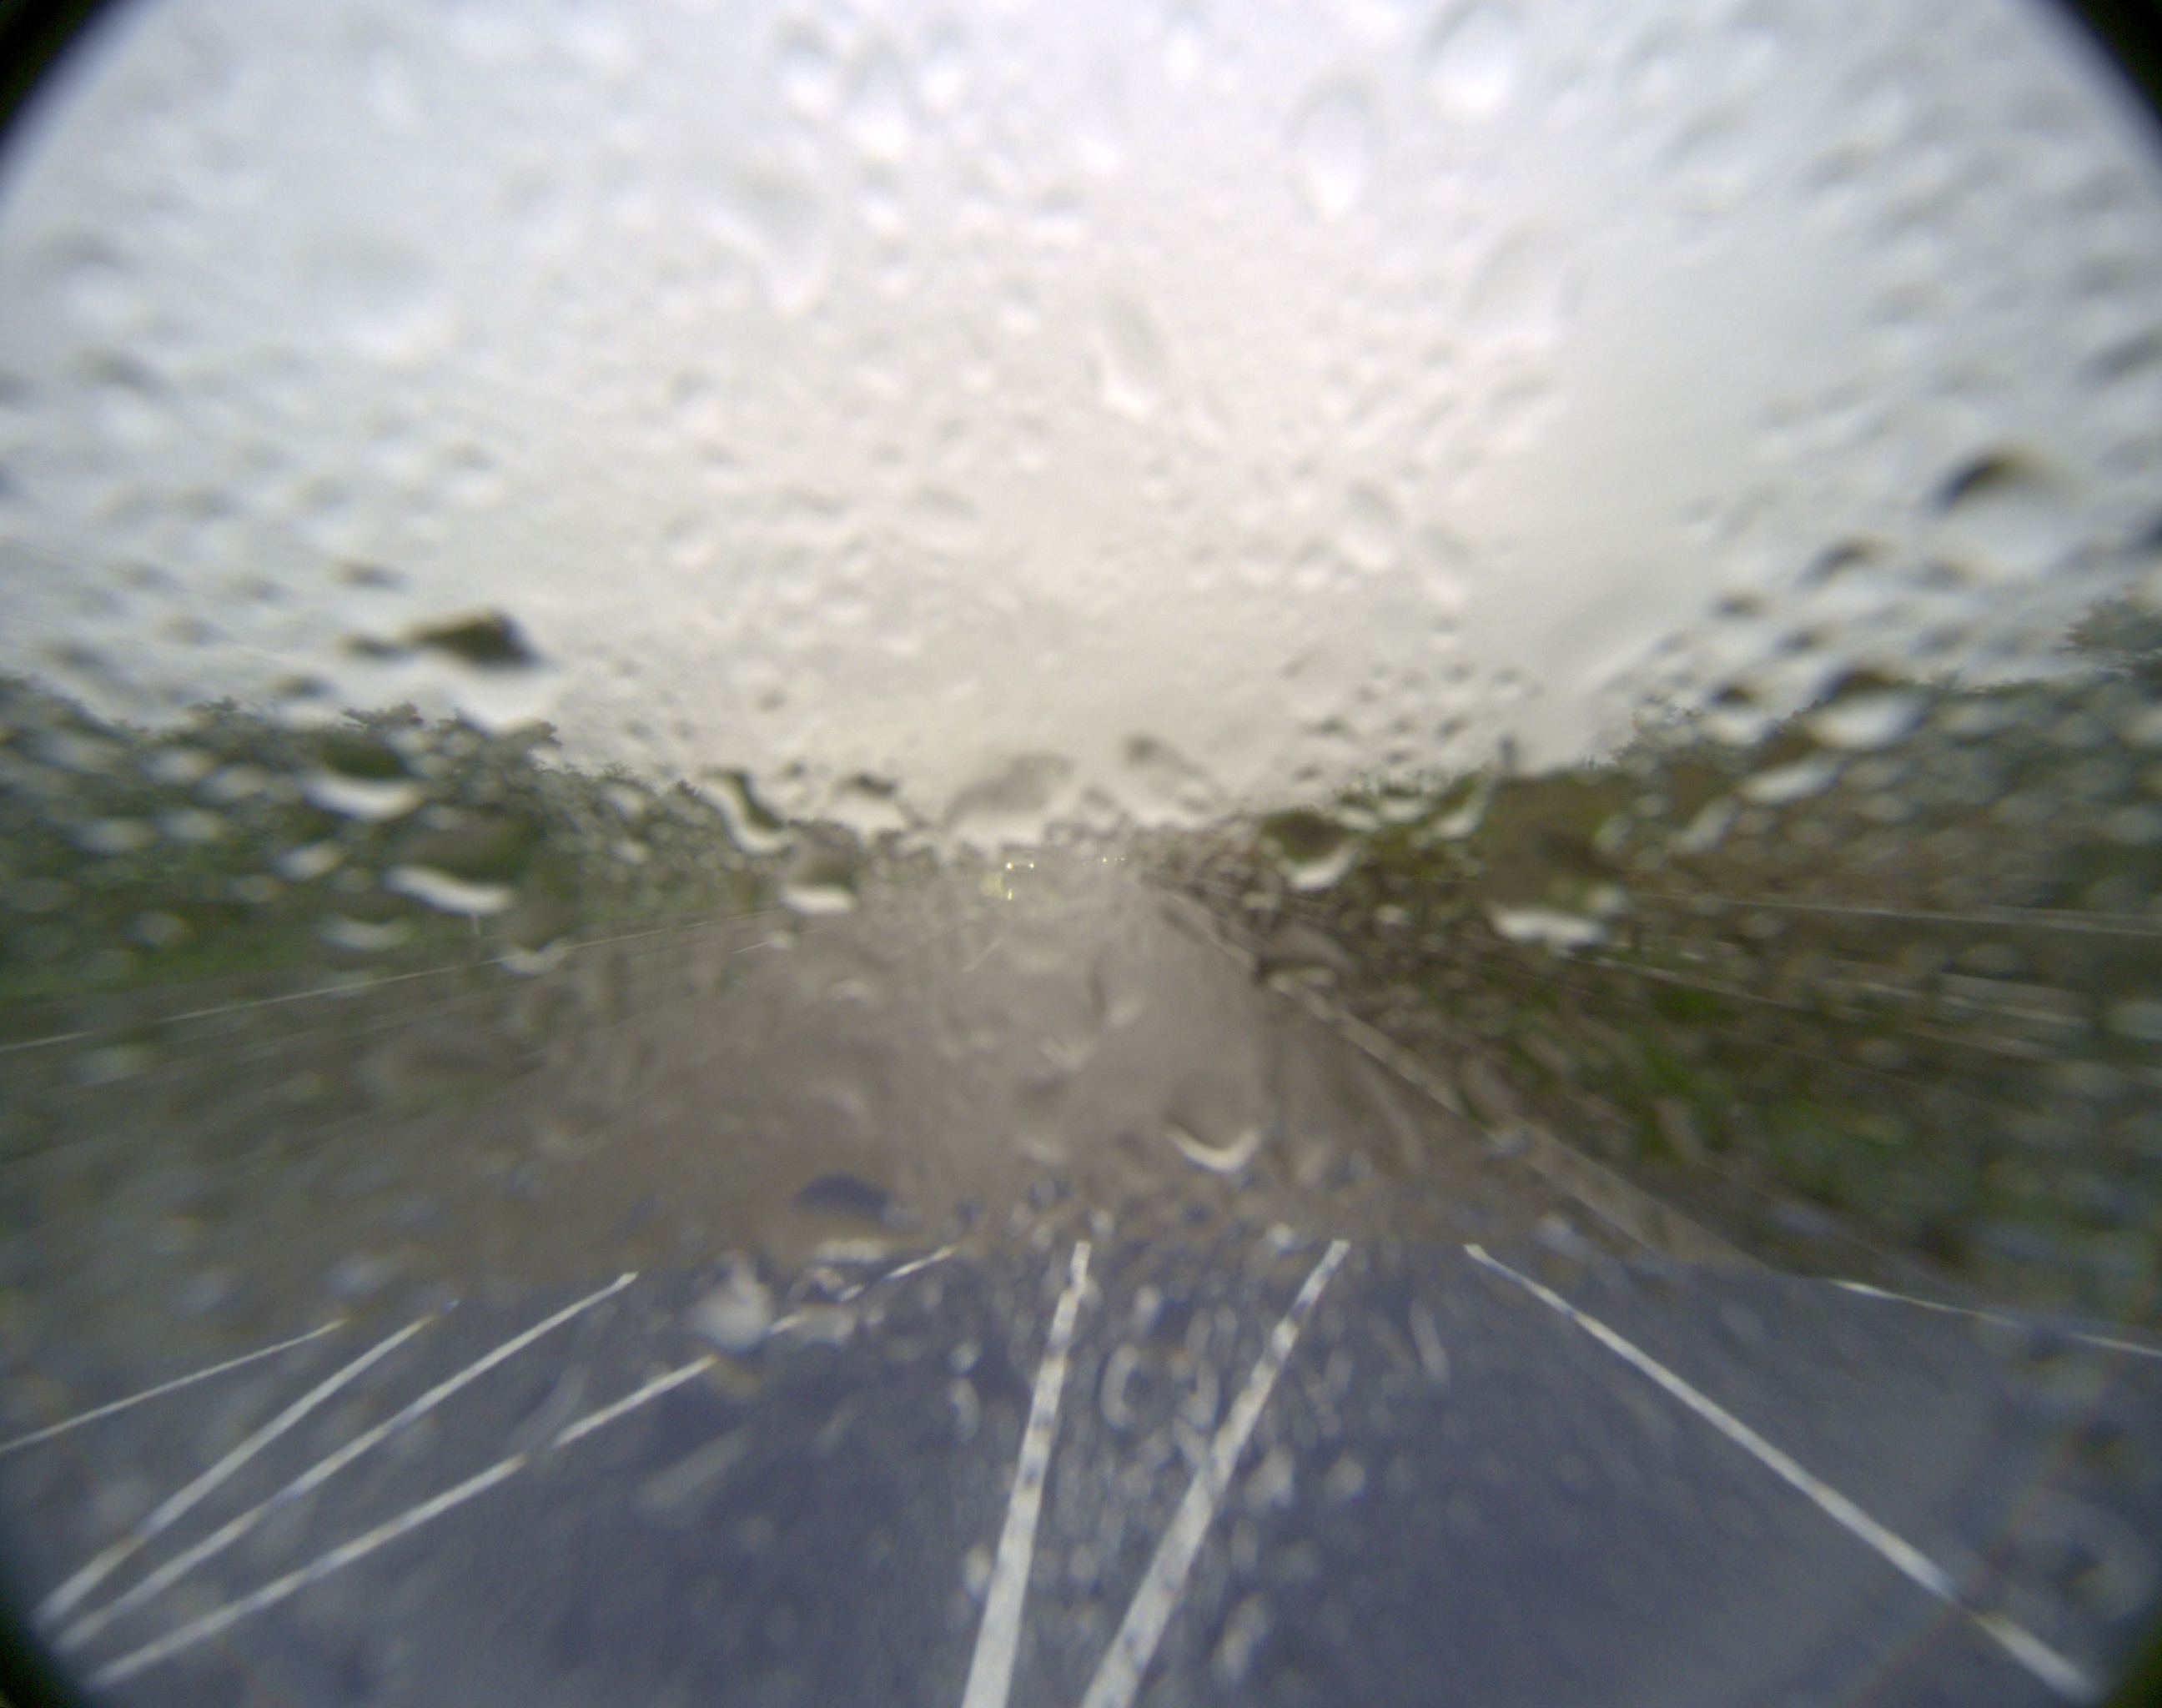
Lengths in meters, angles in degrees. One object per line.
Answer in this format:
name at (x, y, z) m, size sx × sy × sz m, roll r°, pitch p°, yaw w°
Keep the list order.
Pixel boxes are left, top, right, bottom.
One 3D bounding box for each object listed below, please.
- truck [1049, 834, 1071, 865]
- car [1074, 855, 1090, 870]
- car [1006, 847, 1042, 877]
truck at (-3.205, -0.701, 121.177) m, size 3.136 × 4.642 × 11.402 m, roll -2°, pitch 0°, yaw 0°
car at (0.099, 1.129, 101.975) m, size 1.999 × 2.002 × 3.999 m, roll -2°, pitch 0°, yaw -2°
car at (-4.002, 0.545, 54.070) m, size 1.998 × 2.002 × 4.000 m, roll -3°, pitch 0°, yaw 2°
